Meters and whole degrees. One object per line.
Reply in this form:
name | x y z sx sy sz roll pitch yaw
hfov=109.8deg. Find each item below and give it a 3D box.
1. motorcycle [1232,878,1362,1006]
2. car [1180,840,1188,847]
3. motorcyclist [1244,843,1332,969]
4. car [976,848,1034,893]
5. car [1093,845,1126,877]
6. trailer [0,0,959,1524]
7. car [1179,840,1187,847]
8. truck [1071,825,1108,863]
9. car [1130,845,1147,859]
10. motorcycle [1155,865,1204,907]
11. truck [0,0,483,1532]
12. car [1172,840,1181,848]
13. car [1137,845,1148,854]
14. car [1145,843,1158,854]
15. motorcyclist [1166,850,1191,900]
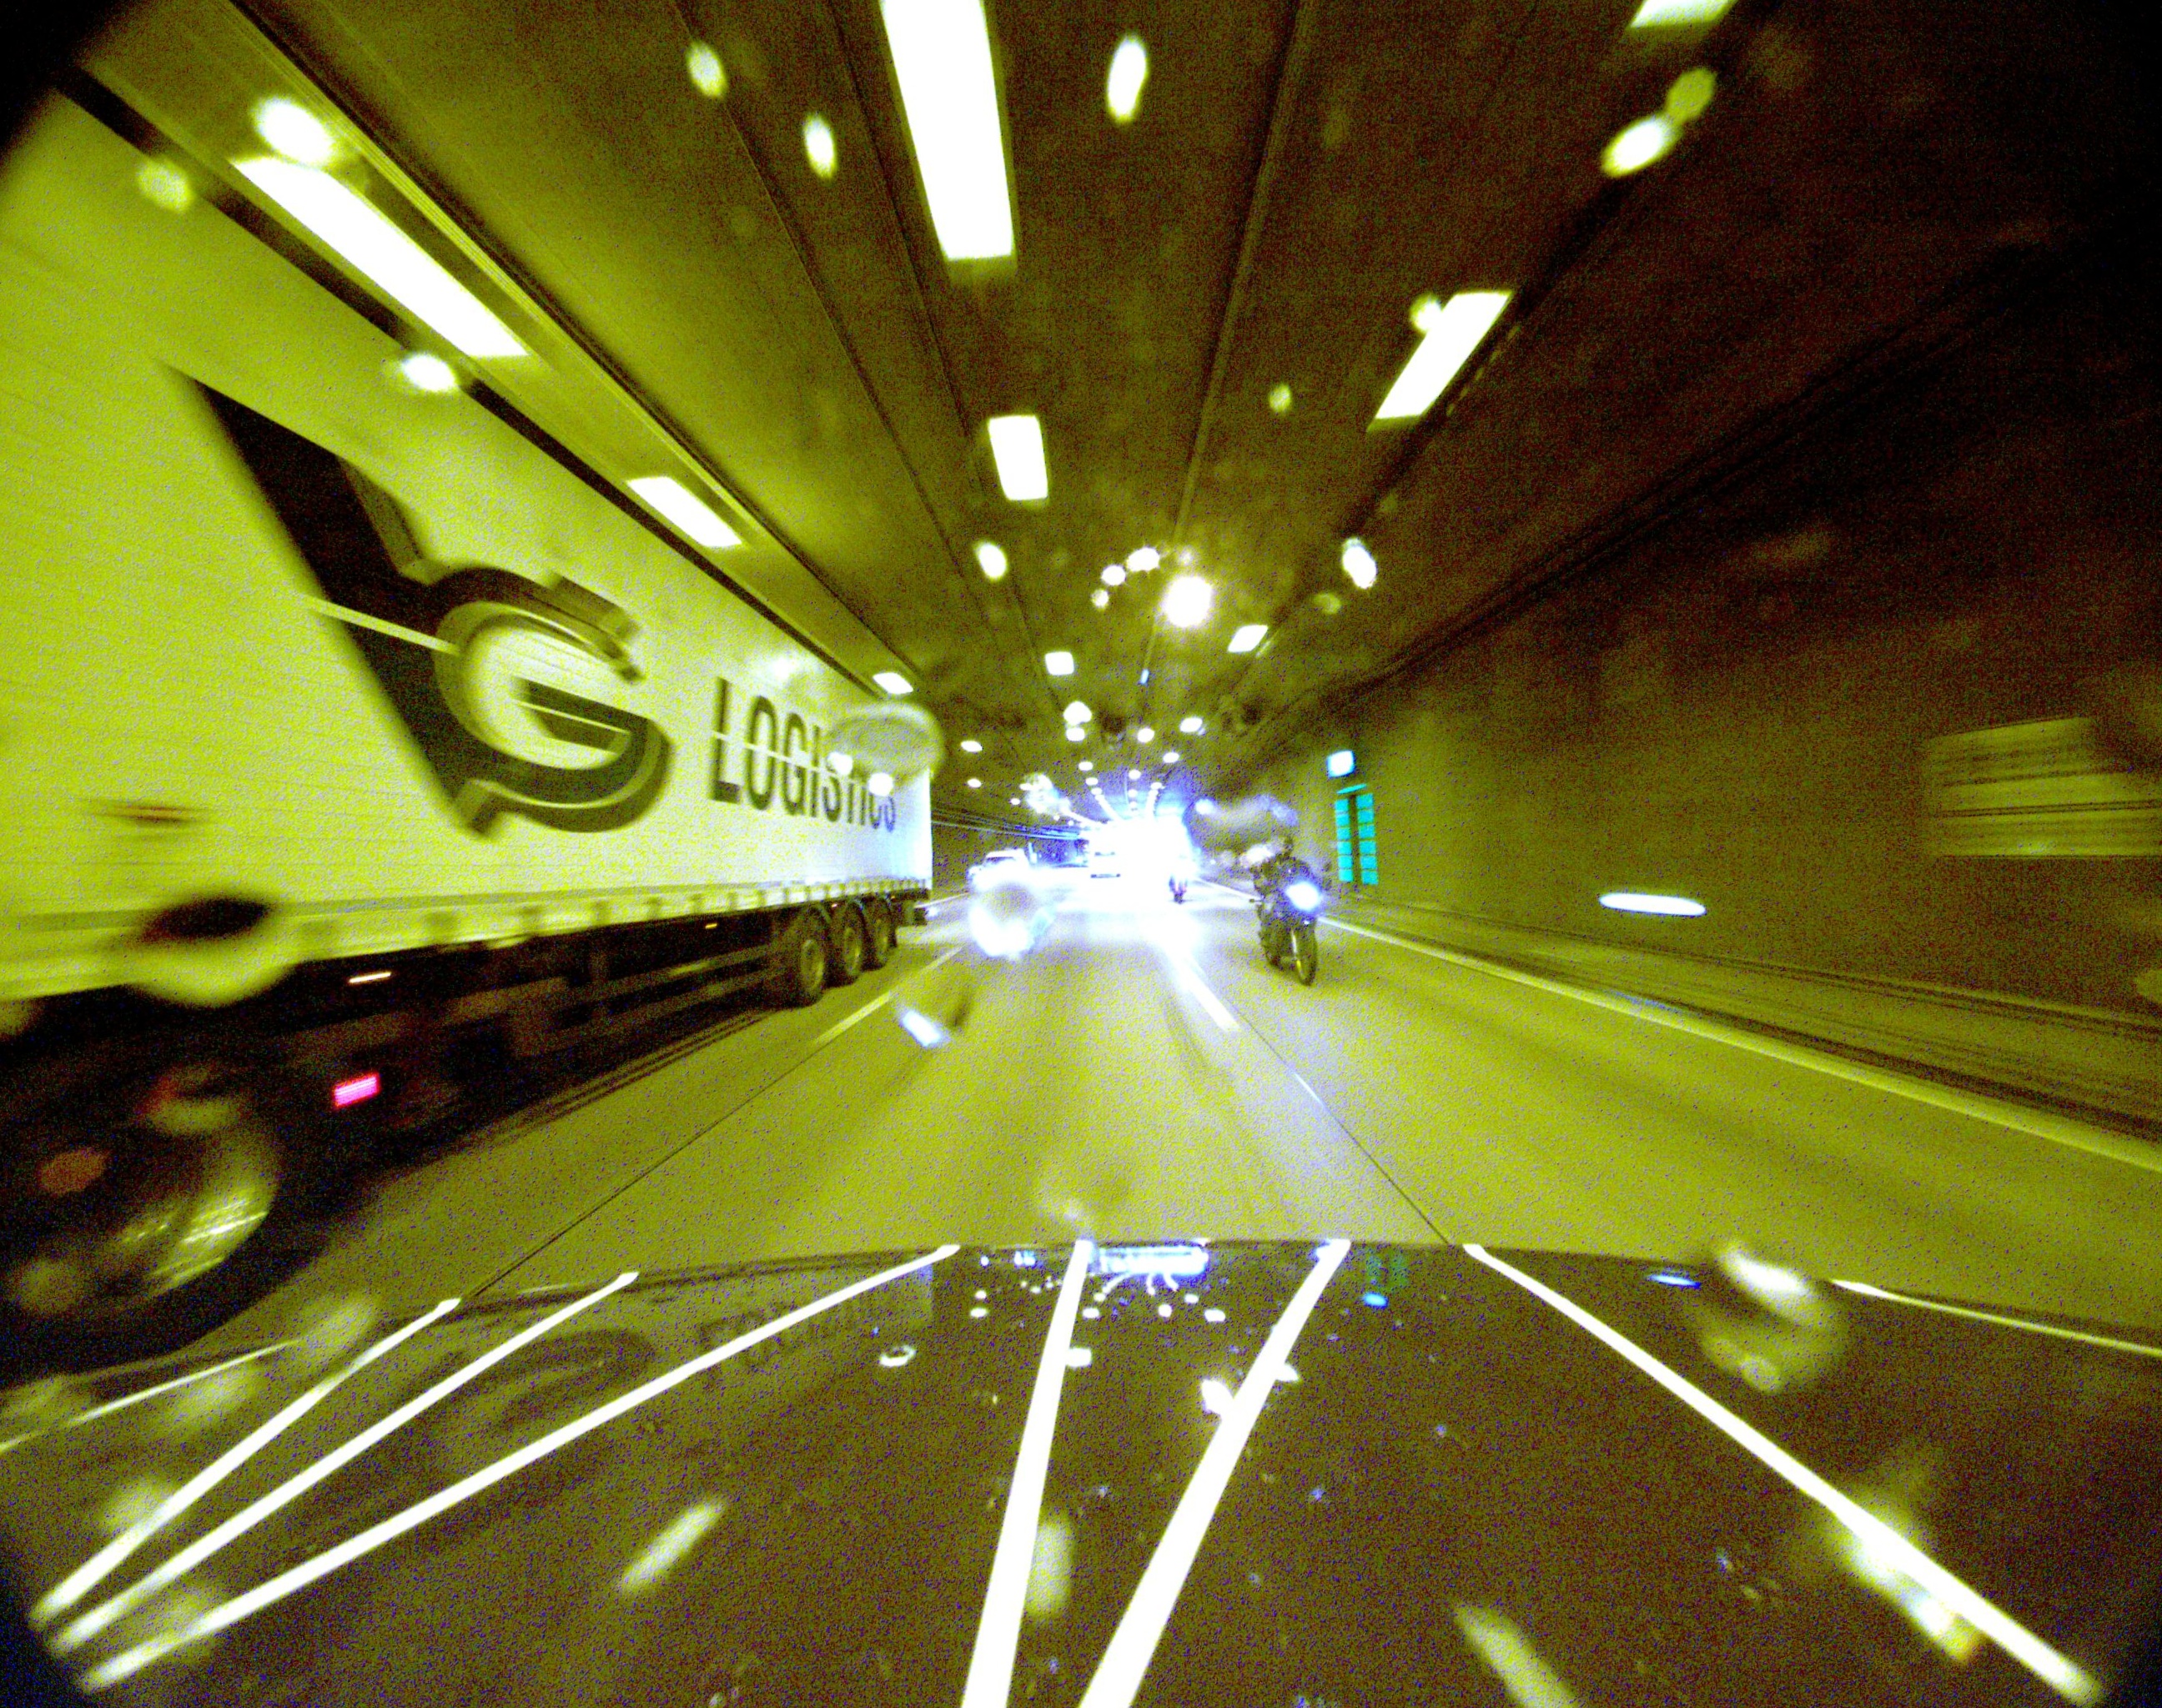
motorcycle | 2.545 0.970 9.336 0.848 1.238 2.604 -2 0 0
car | 28.576 -2.901 210.910 1.997 1.788 4.003 -2 1 11
motorcyclist | 2.539 0.618 9.420 0.841 1.469 0.821 -2 0 1
car | -3.311 0.683 34.101 1.839 1.849 4.289 -2 0 4
car | 1.831 0.424 48.927 1.998 1.890 4.000 -1 0 2
trailer | -4.005 -0.315 7.749 2.627 4.139 14.001 -3 0 2
car | 30.866 -3.216 229.517 1.997 1.788 4.003 -2 1 11
truck | 1.052 -1.141 84.914 2.899 3.819 9.000 -2 1 7
car | 7.890 -0.327 103.864 1.997 1.788 4.001 -3 1 7
motorcycle | 2.949 0.945 23.063 1.056 1.151 2.427 -1 0 -2
truck | -4.245 -0.258 0.476 2.652 4.139 6.005 -2 0 2
car | 24.286 -2.506 193.532 1.997 1.788 4.003 -2 1 11
car | 12.641 -0.924 156.186 1.997 1.788 4.001 -3 1 7
car | 12.551 -0.945 135.083 1.997 1.788 4.001 -3 1 6
motorcyclist | 2.978 0.640 23.256 0.628 1.480 0.890 -1 1 -1
